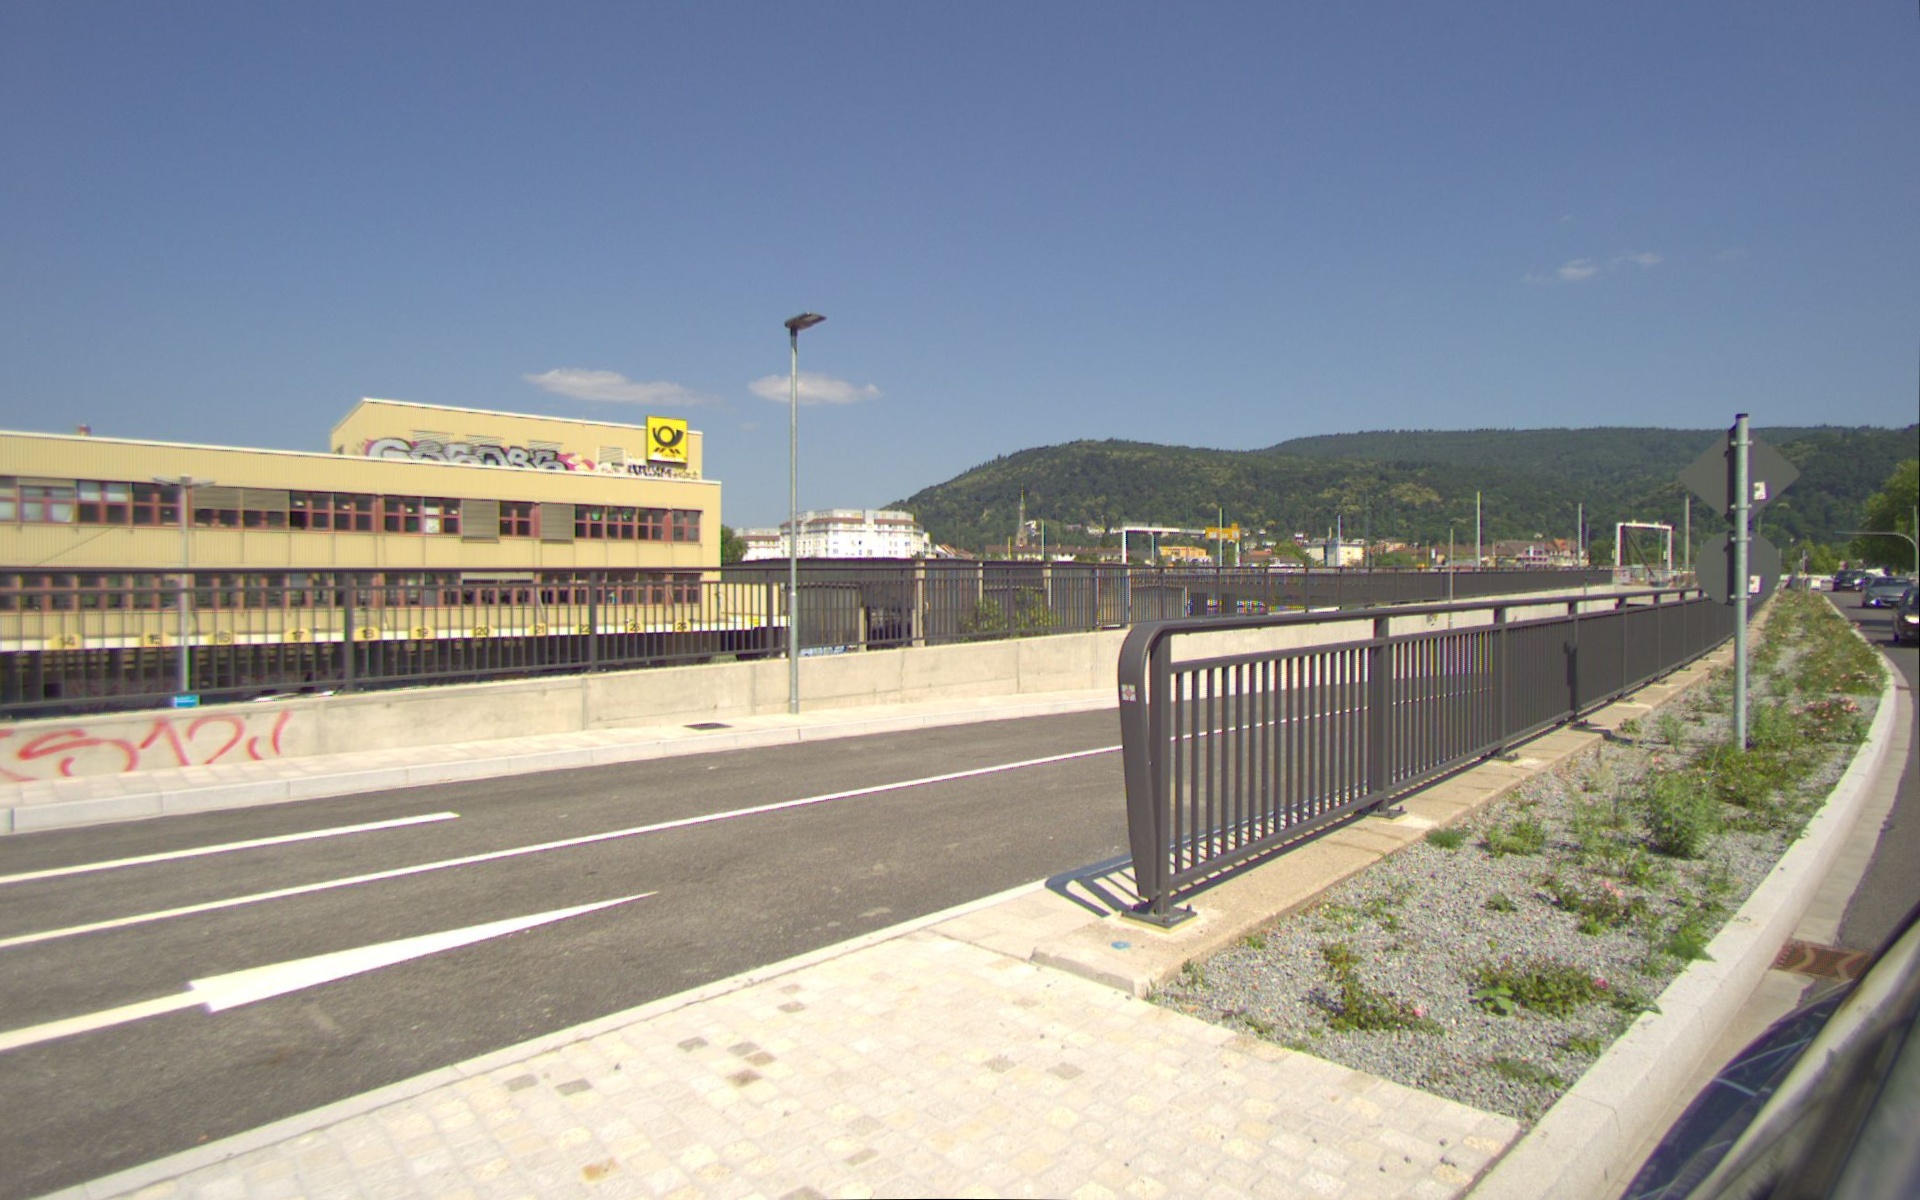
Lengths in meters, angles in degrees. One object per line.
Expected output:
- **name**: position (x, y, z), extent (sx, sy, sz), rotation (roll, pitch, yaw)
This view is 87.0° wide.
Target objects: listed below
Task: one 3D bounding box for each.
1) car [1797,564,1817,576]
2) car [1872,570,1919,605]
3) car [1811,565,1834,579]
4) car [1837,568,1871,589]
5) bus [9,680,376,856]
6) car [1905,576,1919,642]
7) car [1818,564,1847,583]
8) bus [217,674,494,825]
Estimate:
- **car**: position (99.746, -3.532, 119.215), extent (1.610, 1.459, 3.718), rotation (0, 1, 37)
- **car**: position (41.645, -0.568, 44.881), extent (1.612, 1.459, 3.714), rotation (0, 1, 40)
- **car**: position (92.436, -3.047, 108.464), extent (1.610, 1.459, 3.718), rotation (0, 1, 37)
- **car**: position (65.180, -1.587, 73.810), extent (1.611, 1.459, 3.717), rotation (0, 1, 38)
- **bus**: position (-28.738, 5.893, 39.954), extent (2.612, 3.811, 17.143), rotation (-1, 1, -4)
- **car**: position (23.420, 0.178, 23.801), extent (1.613, 1.459, 3.652), rotation (0, 2, 41)
- **car**: position (69.990, -2.137, 81.203), extent (1.611, 1.459, 3.717), rotation (0, 1, 38)
- **bus**: position (-25.403, 5.909, 44.522), extent (2.613, 3.811, 17.489), rotation (-1, 1, -3)
